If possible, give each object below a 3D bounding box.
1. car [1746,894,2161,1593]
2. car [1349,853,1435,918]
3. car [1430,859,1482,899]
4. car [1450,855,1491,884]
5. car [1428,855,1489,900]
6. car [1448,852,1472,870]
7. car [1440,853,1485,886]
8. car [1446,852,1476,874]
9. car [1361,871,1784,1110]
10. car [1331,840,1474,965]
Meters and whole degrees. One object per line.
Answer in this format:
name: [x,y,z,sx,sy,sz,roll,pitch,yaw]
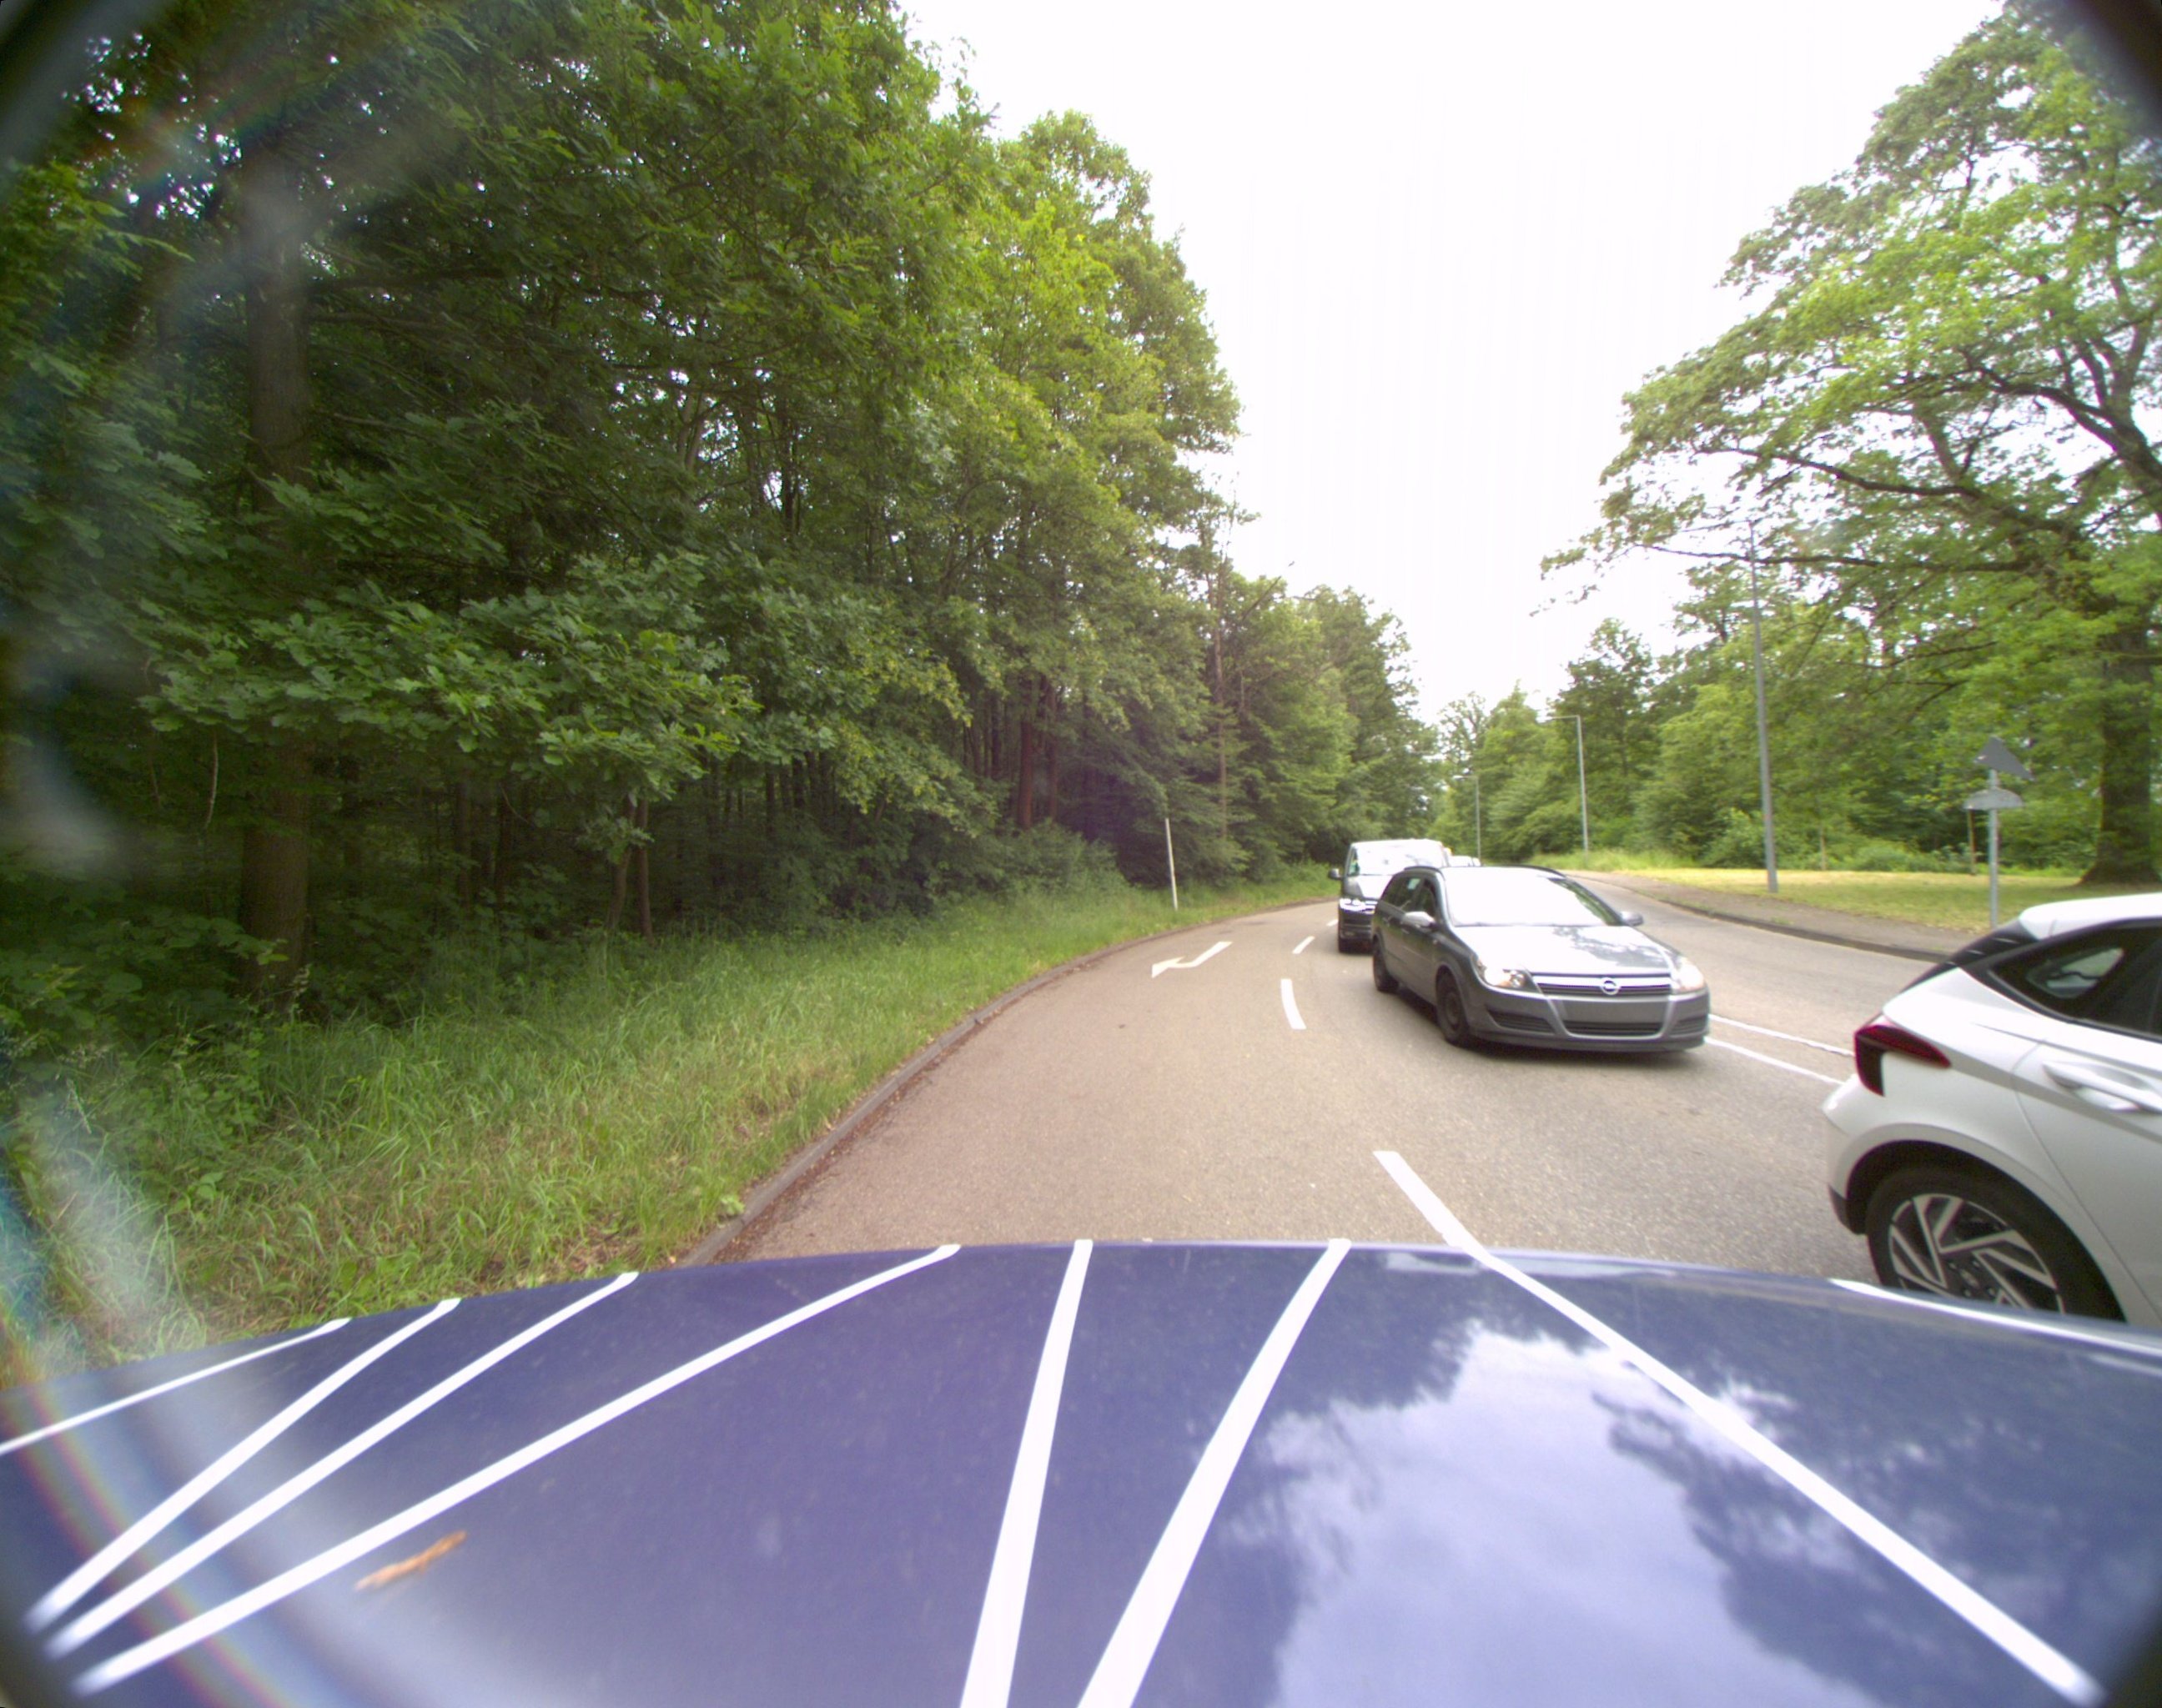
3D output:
car: [3.145,0.862,0.672,1.653,1.470,4.074,-1,-1,3]
car: [8.943,0.836,21.668,1.790,1.664,3.998,-2,-1,28]
car: [15.211,0.984,30.955,1.775,1.490,3.880,-2,-1,25]
car: [20.964,0.807,41.027,1.775,1.490,3.880,-2,-1,25]
car: [13.428,0.812,27.175,1.775,1.490,3.880,-2,-1,25]
car: [34.182,0.619,68.474,1.775,1.490,3.880,-2,-1,28]
car: [18.175,0.731,36.361,1.775,1.490,3.880,-2,-1,25]
car: [27.064,0.647,54.022,1.775,1.490,3.880,-2,-1,28]
car: [4.021,0.948,7.232,1.801,1.470,4.474,-1,-1,11]
car: [5.730,0.764,13.844,1.987,1.861,4.539,-1,-1,21]
